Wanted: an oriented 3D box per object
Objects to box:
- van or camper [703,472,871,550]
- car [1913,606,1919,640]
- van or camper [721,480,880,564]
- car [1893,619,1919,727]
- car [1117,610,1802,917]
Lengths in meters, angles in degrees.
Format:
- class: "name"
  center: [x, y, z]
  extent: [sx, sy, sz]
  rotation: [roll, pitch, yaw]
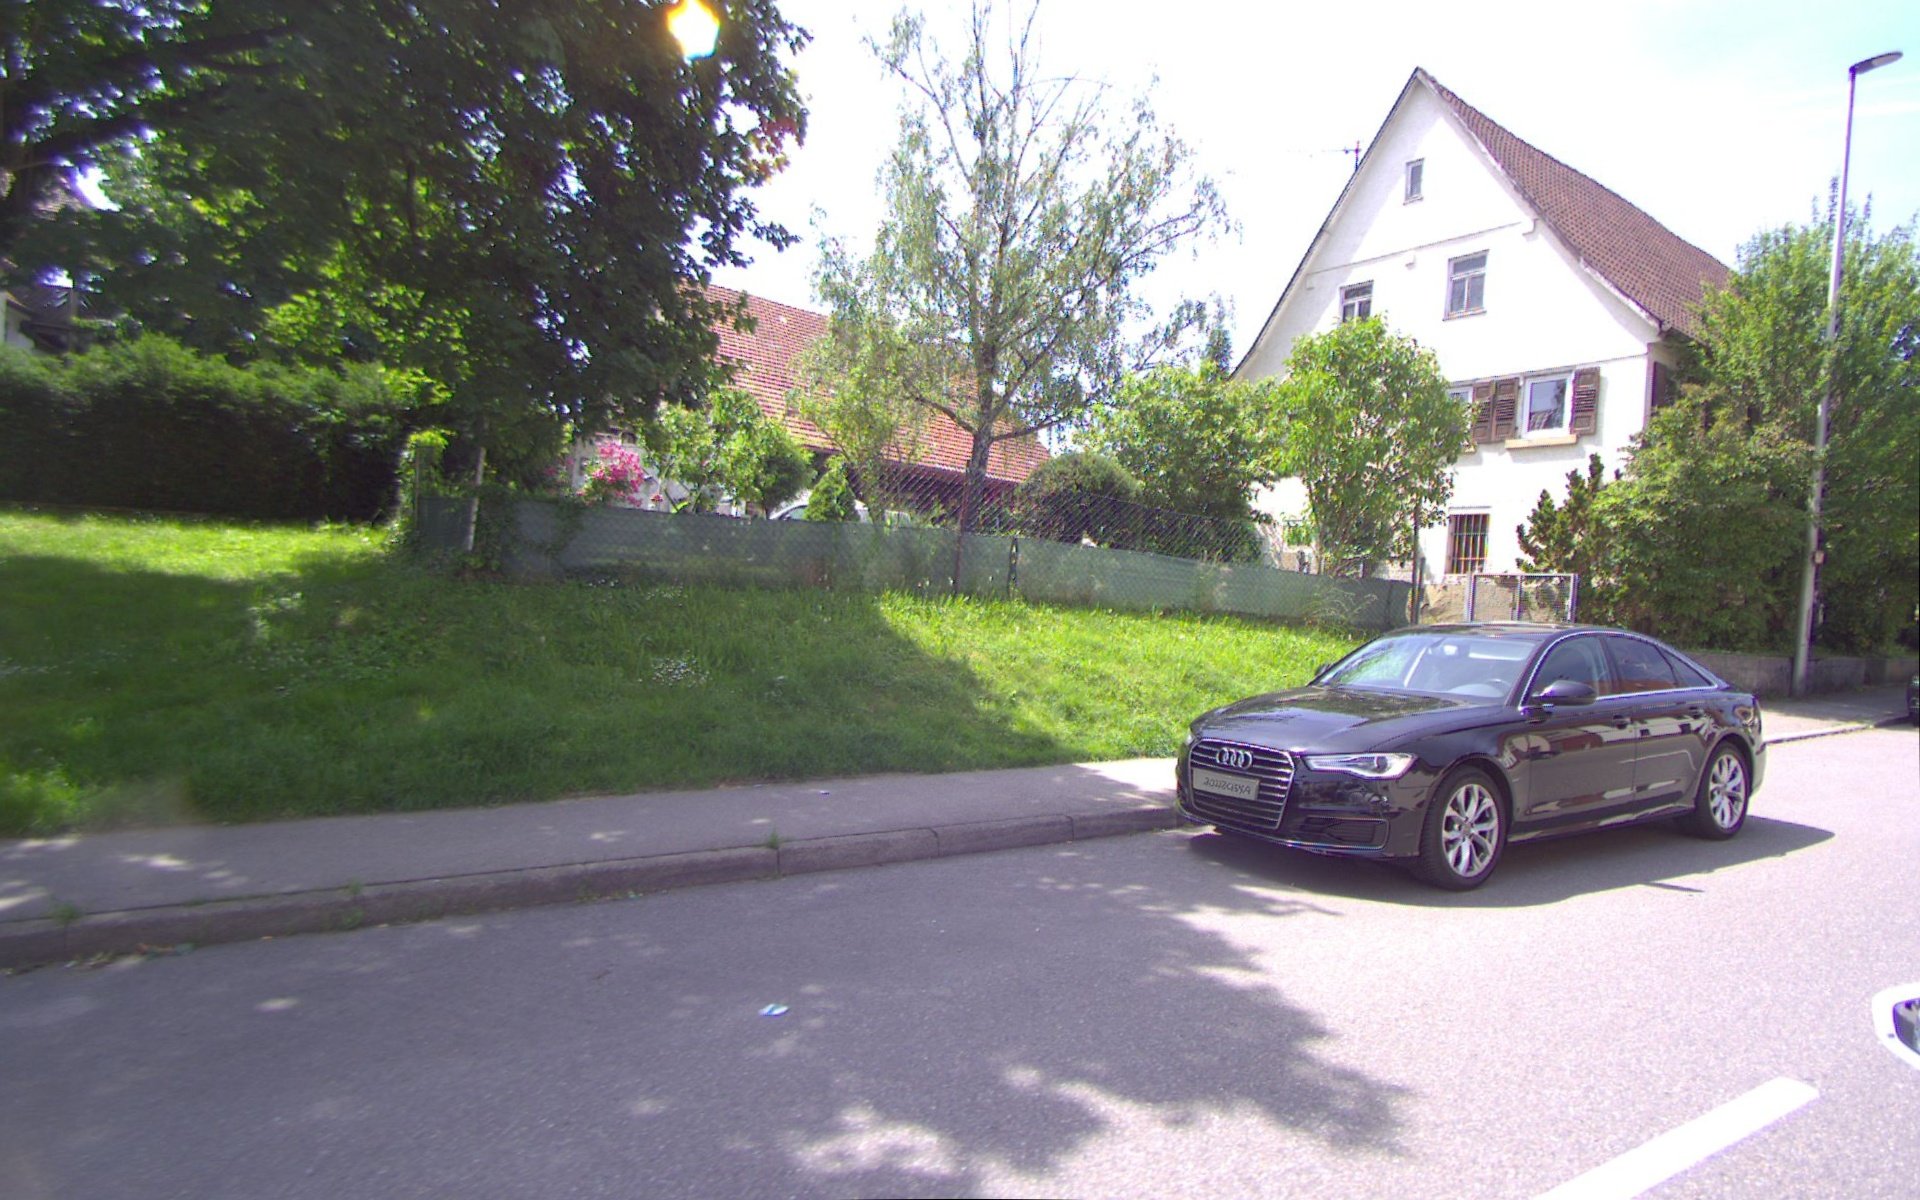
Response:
- class: "van or camper"
  center: [-5.379, -2.739, 31.564]
  extent: [4.776, 2.041, 1.977]
  rotation: [1, 4, -39]
- class: "car"
  center: [42.588, 1.192, 41.686]
  extent: [1.808, 1.424, 4.189]
  rotation: [1, 6, -43]
- class: "van or camper"
  center: [-4.506, -2.154, 28.362]
  extent: [3.949, 2.041, 1.985]
  rotation: [2, 3, -28]
- class: "car"
  center: [15.467, 1.077, 14.617]
  extent: [4.664, 1.483, 1.777]
  rotation: [2, 1, -35]
- class: "car"
  center: [3.563, 0.837, 6.880]
  extent: [4.869, 1.443, 1.796]
  rotation: [1, 1, -30]
